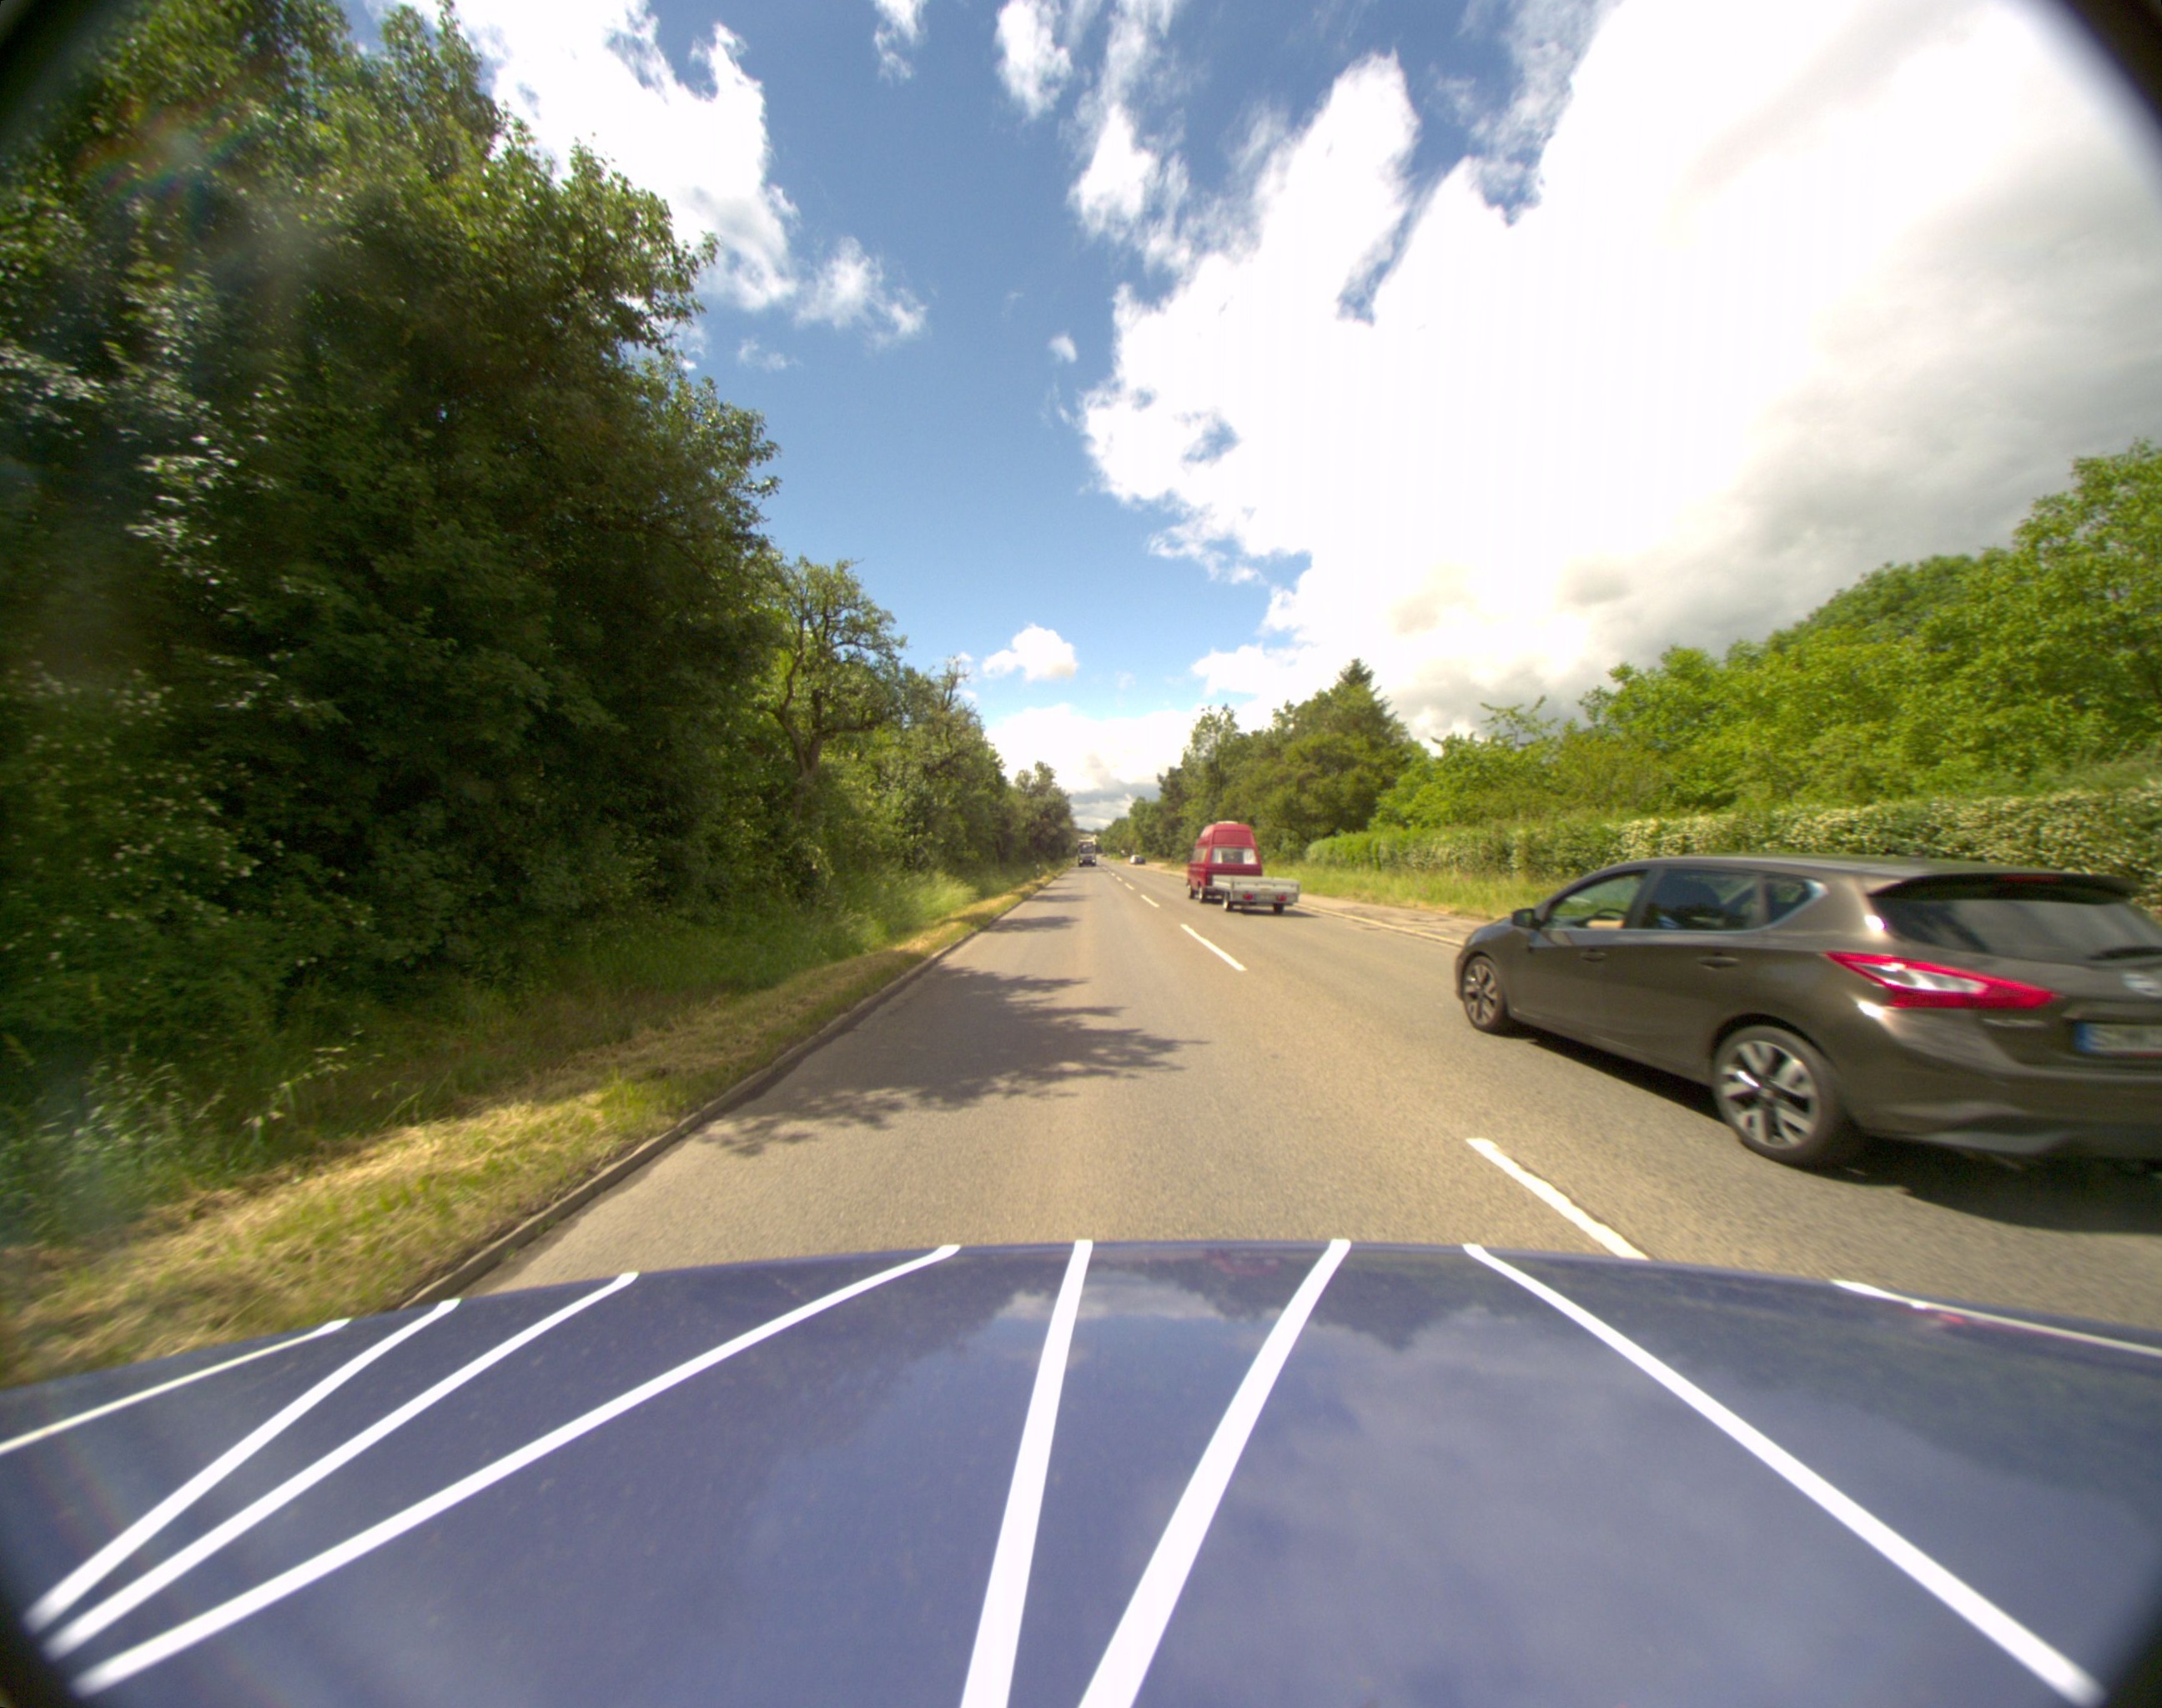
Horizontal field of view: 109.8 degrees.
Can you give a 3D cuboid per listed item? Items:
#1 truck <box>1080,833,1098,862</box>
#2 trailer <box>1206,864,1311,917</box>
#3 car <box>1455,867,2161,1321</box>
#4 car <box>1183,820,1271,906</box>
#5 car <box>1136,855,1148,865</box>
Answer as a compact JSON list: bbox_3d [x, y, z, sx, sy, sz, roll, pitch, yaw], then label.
[{"bbox_3d":[1.086,-0.889,108.678,2.306,3.790,8.182,-3,0,0],"label":"truck"},{"bbox_3d":[4.636,0.915,20.459,1.896,1.193,3.917,1,0,0],"label":"trailer"},{"bbox_3d":[4.132,0.873,4.595,1.720,1.462,4.000,2,0,0],"label":"car"},{"bbox_3d":[4.682,0.270,25.064,1.974,2.535,4.724,1,0,0],"label":"car"},{"bbox_3d":[9.436,0.954,117.604,1.772,1.399,4.266,-3,0,4],"label":"car"}]
